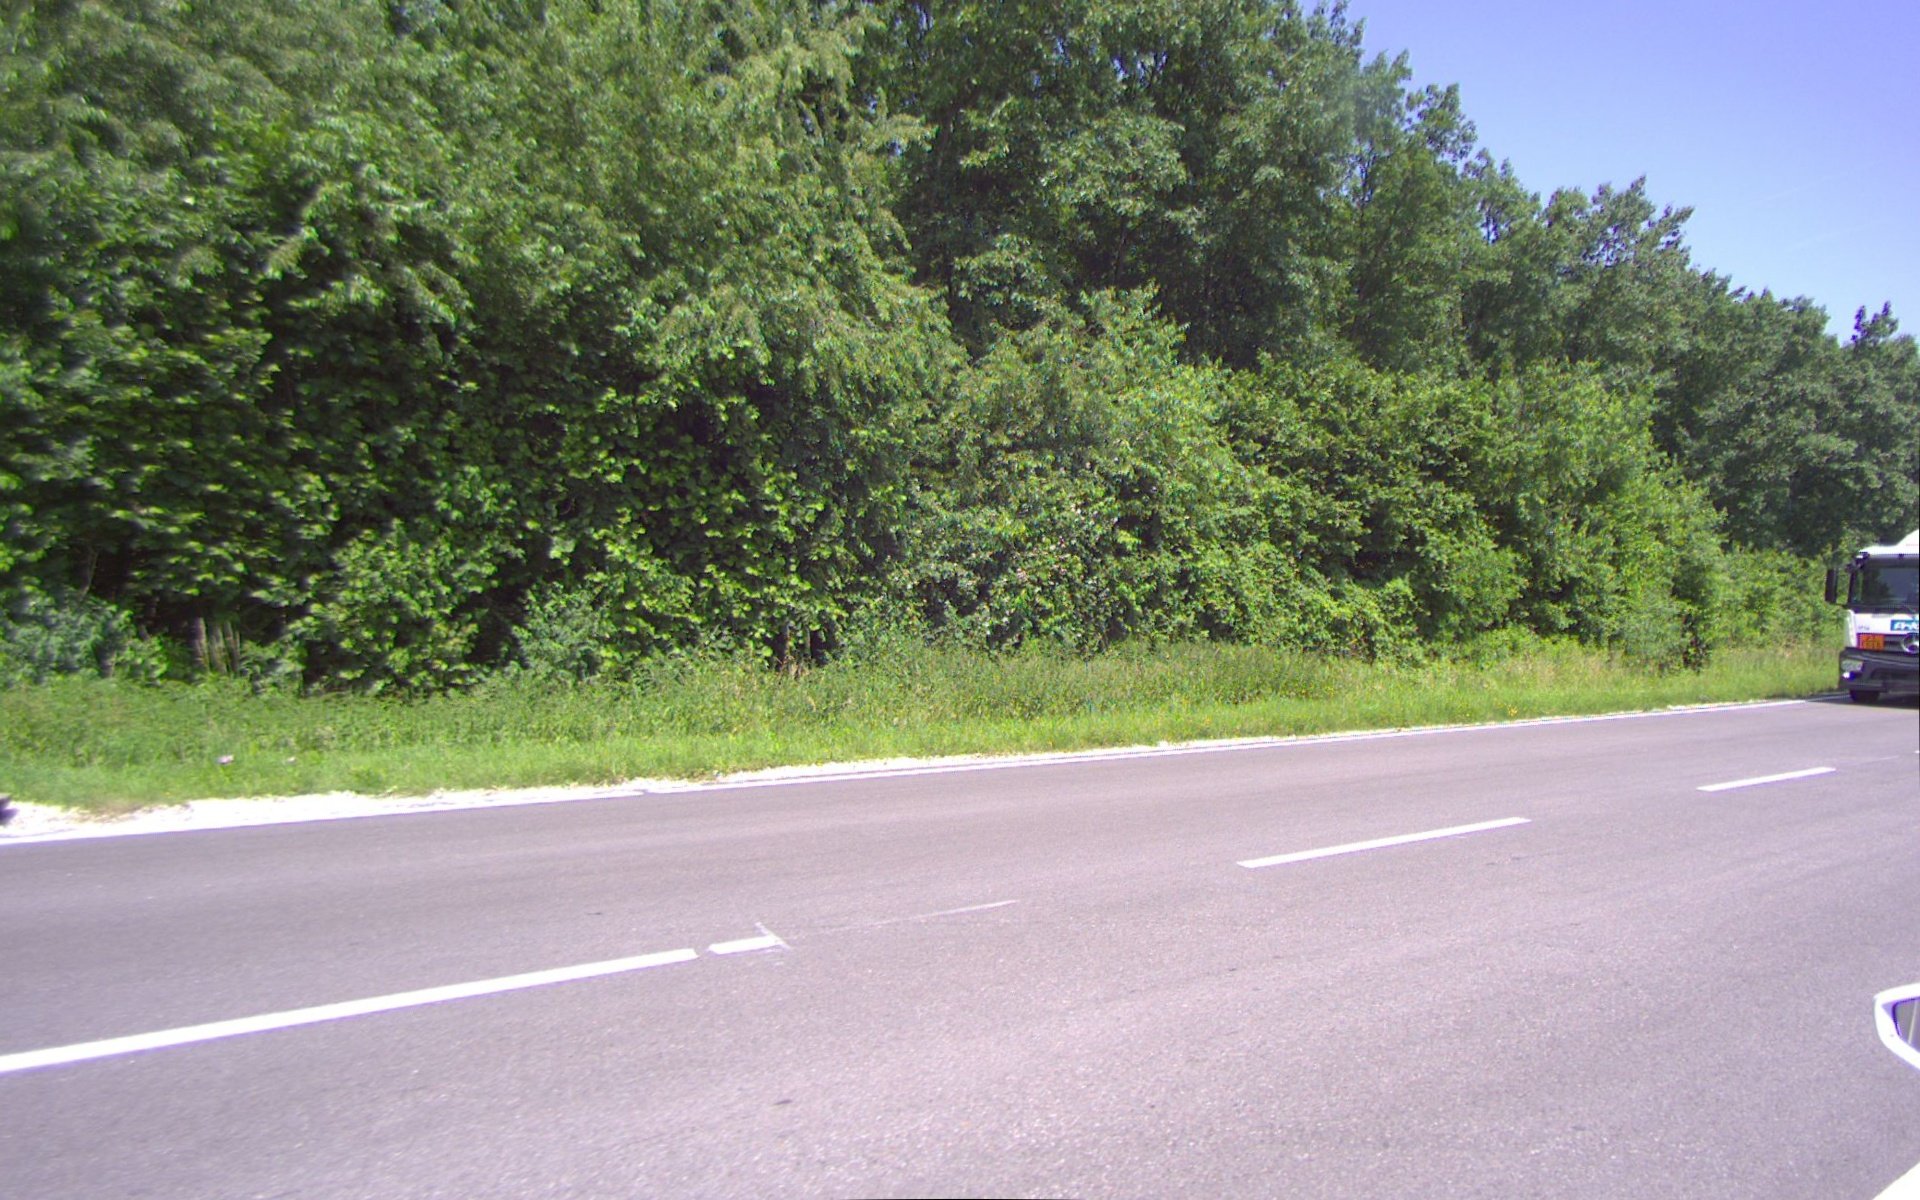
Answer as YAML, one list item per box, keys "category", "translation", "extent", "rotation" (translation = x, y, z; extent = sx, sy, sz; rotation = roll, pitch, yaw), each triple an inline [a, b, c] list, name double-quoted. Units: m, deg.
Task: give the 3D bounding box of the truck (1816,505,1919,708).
- category: "truck"
  translation: [21.080, 0.225, 20.946]
  extent: [8.704, 3.719, 2.611]
  rotation: [2, 0, -34]
